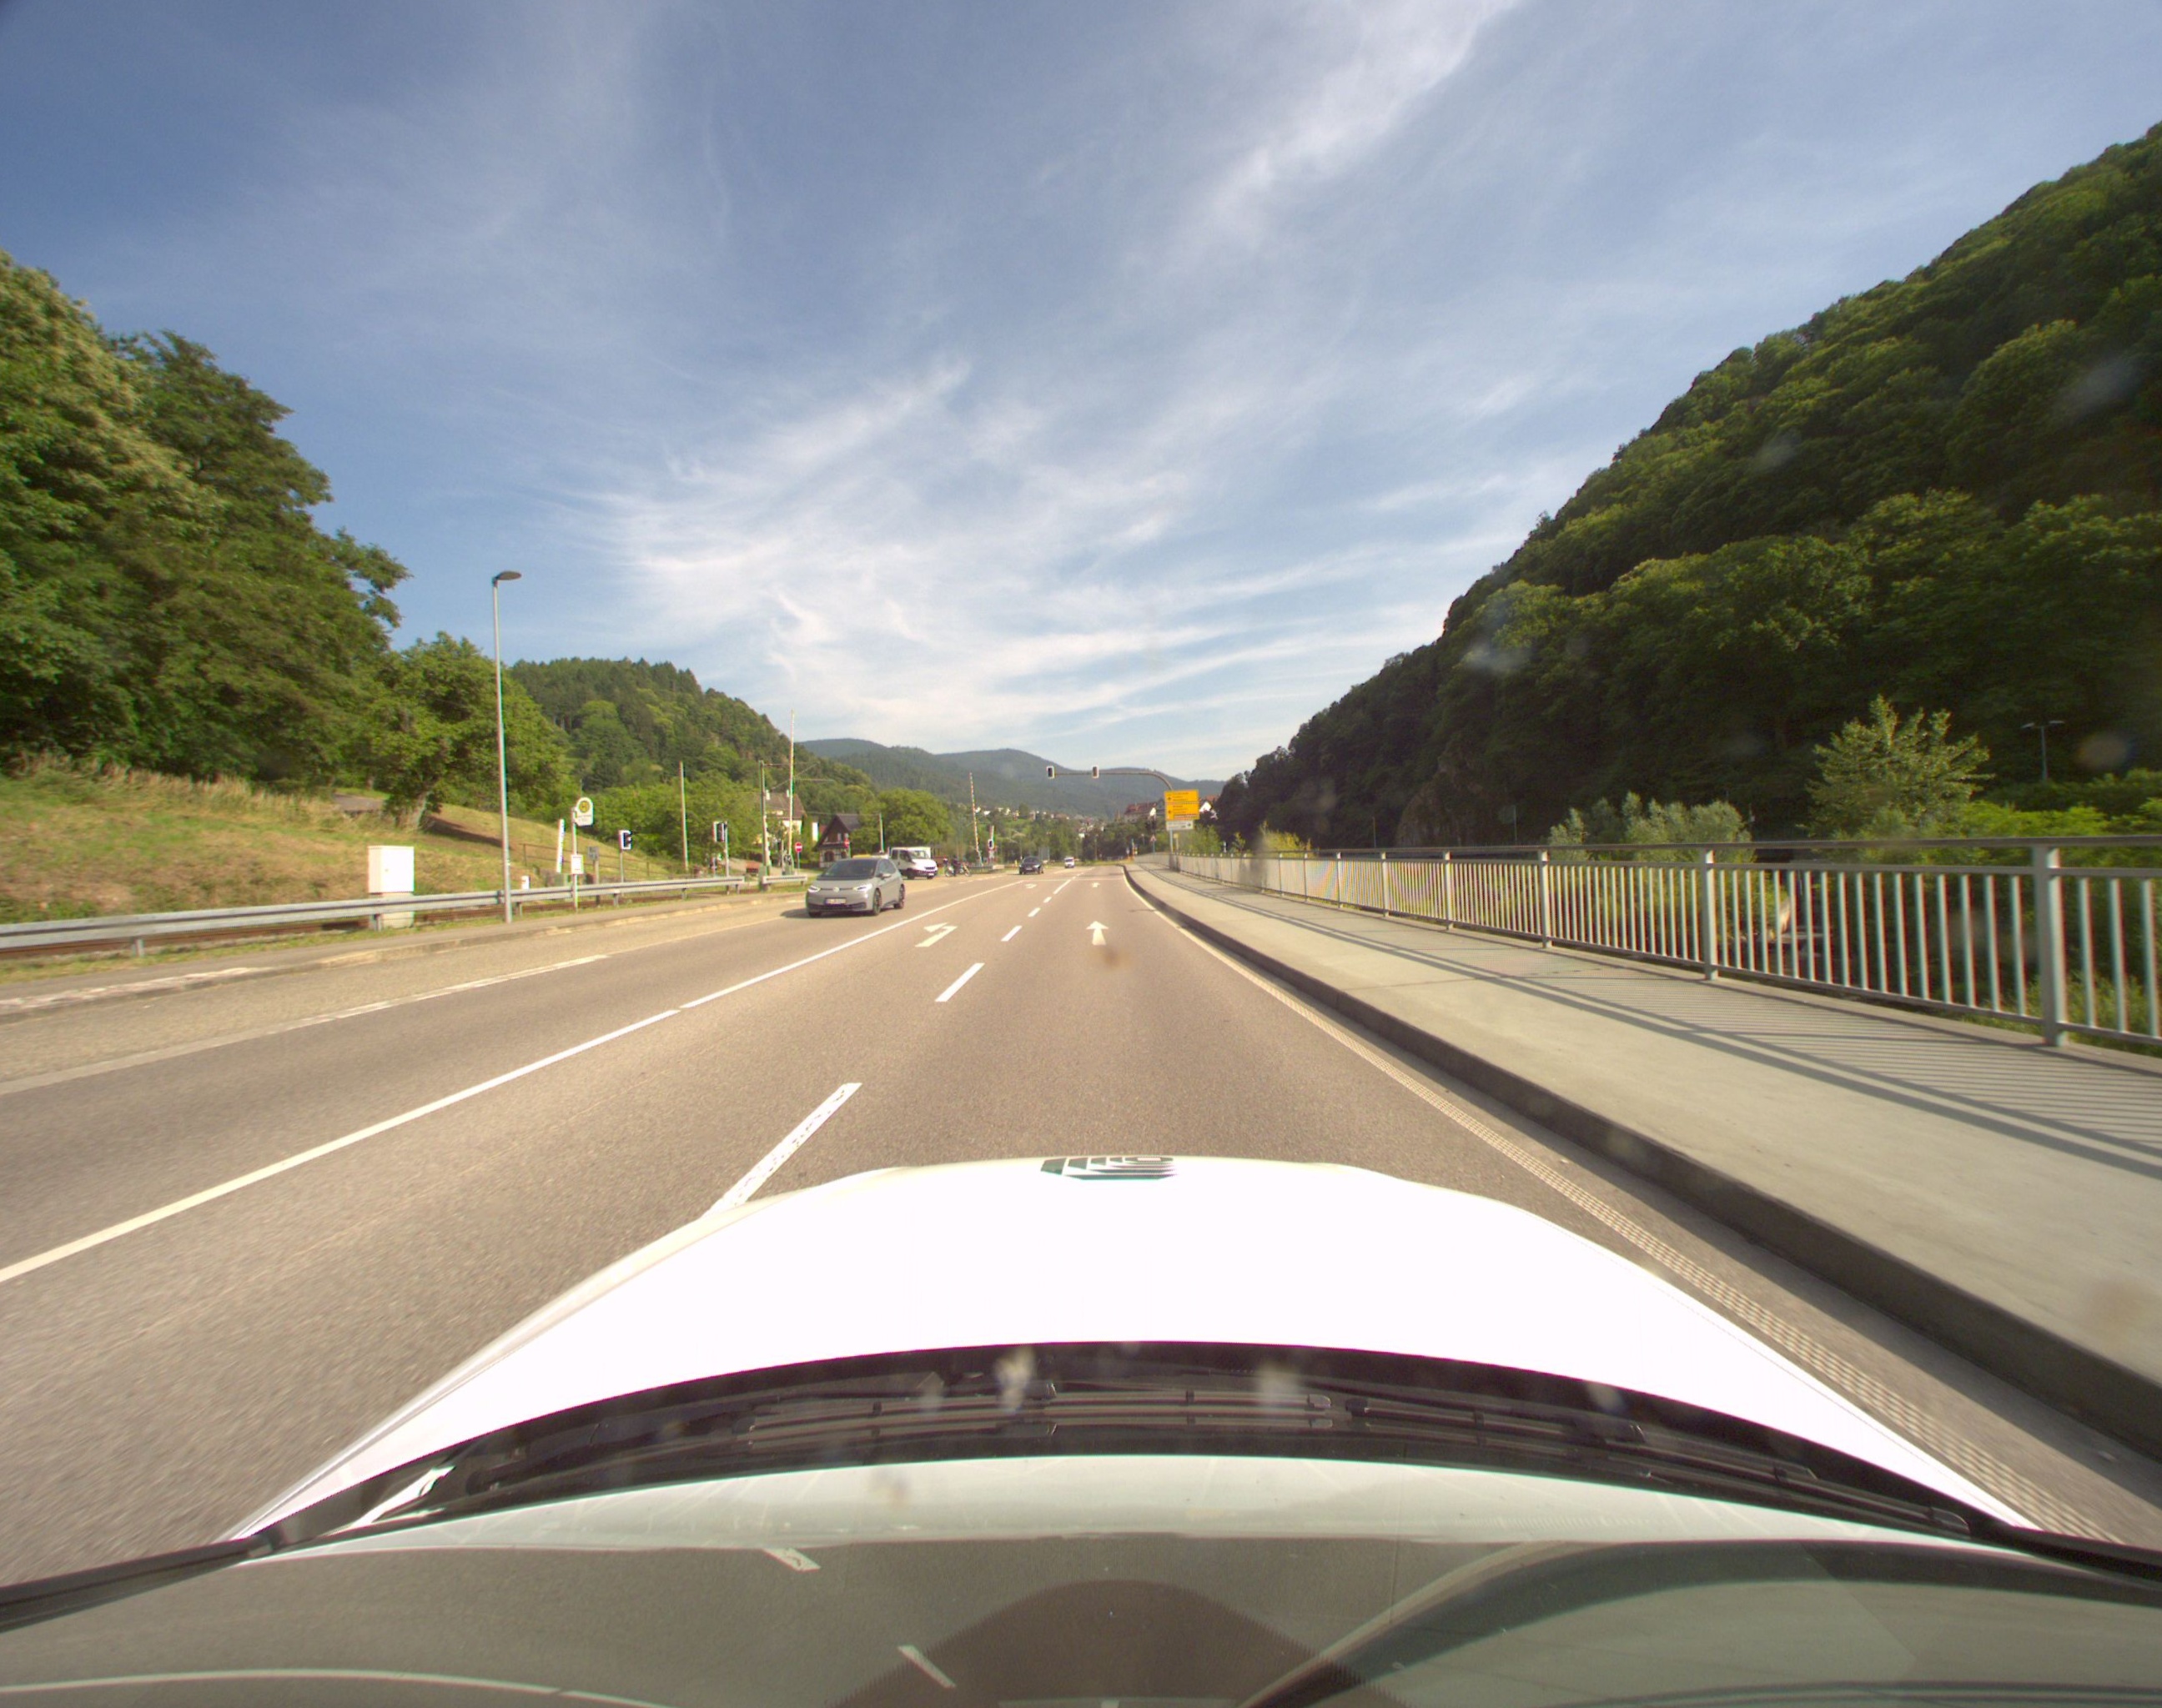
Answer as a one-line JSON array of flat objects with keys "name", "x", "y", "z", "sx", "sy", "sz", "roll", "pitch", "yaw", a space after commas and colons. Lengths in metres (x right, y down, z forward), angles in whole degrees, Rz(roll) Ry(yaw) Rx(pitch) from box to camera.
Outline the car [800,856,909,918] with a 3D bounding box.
[{"name": "car", "x": -6.116, "y": 0.830, "z": 22.492, "sx": 1.752, "sy": 1.521, "sz": 4.205, "roll": -1, "pitch": 0, "yaw": 1}]

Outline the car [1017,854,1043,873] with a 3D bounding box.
[{"name": "car", "x": -4.152, "y": 0.759, "z": 66.828, "sx": 1.767, "sy": 1.416, "sz": 3.785, "roll": -2, "pitch": 0, "yaw": 1}]

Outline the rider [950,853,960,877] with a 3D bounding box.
[{"name": "rider", "x": -9.750, "y": 0.828, "z": 62.977, "sx": 0.753, "sy": 1.819, "sz": 0.739, "roll": 0, "pitch": 0, "yaw": -14}]

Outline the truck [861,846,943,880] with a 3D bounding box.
[{"name": "truck", "x": -12.601, "y": 0.632, "z": 57.112, "sx": 5.925, "sy": 2.266, "sz": 2.013, "roll": -1, "pitch": 0, "yaw": 34}]
